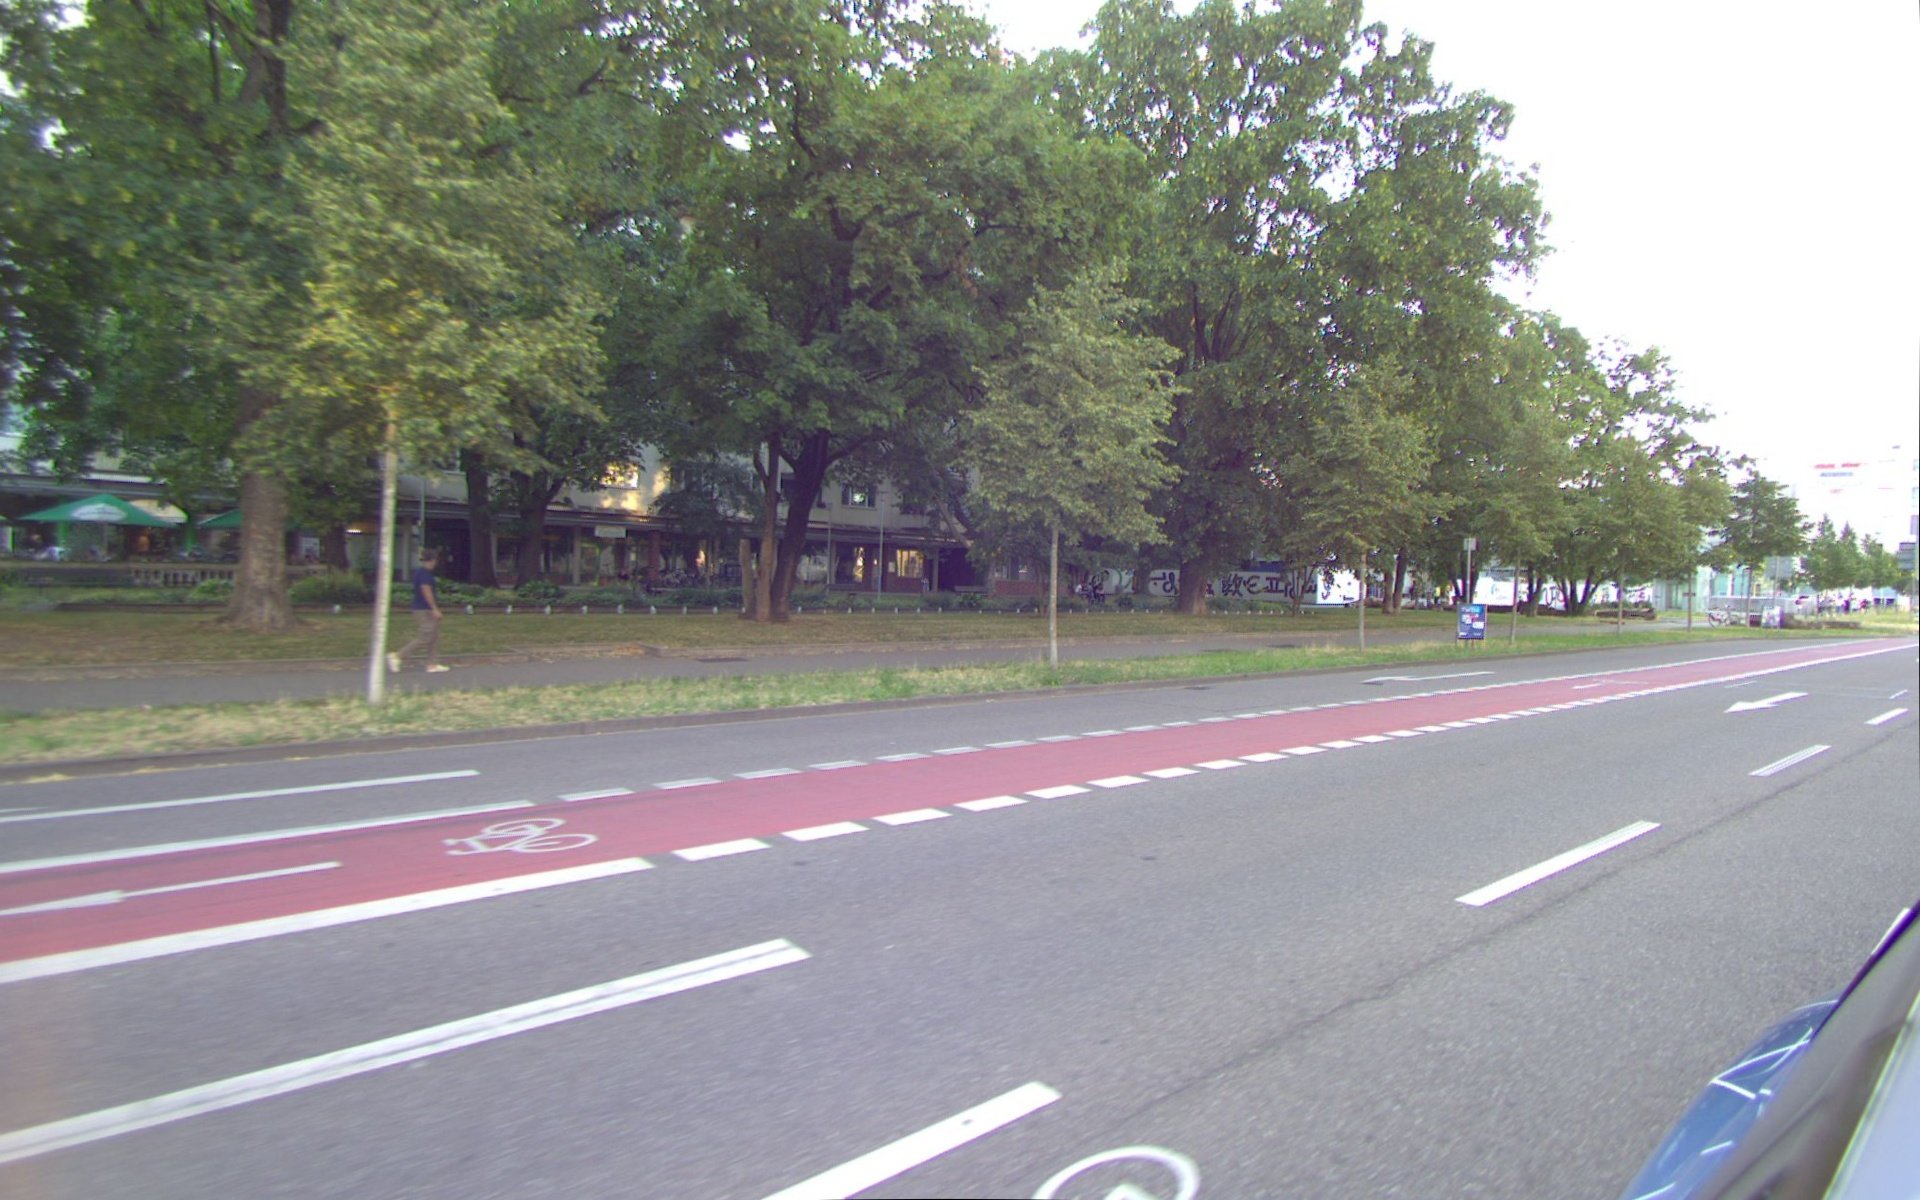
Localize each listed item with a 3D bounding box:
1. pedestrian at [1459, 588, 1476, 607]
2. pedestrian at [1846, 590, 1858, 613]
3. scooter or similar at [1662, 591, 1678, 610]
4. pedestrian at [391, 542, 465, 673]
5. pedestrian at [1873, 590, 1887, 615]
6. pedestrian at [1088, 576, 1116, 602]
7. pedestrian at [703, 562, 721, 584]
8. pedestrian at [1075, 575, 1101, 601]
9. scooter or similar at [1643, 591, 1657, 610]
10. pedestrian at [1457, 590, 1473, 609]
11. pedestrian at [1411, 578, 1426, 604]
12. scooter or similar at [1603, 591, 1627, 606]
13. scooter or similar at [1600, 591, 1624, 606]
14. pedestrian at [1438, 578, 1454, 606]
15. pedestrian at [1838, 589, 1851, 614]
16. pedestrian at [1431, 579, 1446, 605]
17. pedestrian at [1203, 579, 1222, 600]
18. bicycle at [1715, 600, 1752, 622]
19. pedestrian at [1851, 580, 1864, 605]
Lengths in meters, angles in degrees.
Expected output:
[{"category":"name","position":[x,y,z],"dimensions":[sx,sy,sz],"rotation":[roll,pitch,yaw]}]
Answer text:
[{"category":"pedestrian","position":[24.206,-0.114,48.273],"dimensions":[0.674,0.895,0.588],"rotation":[2,1,26]},{"category":"pedestrian","position":[75.494,0.143,85.655],"dimensions":[0.608,1.957,0.644],"rotation":[1,1,-38]},{"category":"scooter or similar","position":[48.233,0.047,68.747],"dimensions":[1.373,1.235,0.425],"rotation":[1,4,-40]},{"category":"pedestrian","position":[-7.258,0.083,13.795],"dimensions":[0.735,1.714,0.696],"rotation":[0,2,-41]},{"category":"pedestrian","position":[72.640,0.171,79.908],"dimensions":[0.608,1.957,0.644],"rotation":[1,1,-40]},{"category":"pedestrian","position":[7.343,-0.582,52.387],"dimensions":[0.889,1.276,1.135],"rotation":[1,2,-37]},{"category":"pedestrian","position":[-13.950,-1.506,56.856],"dimensions":[0.687,1.178,0.788],"rotation":[1,2,-39]},{"category":"pedestrian","position":[6.571,-0.599,51.856],"dimensions":[0.712,1.276,1.135],"rotation":[1,2,-37]},{"category":"scooter or similar","position":[47.429,0.010,69.599],"dimensions":[0.473,1.235,1.550],"rotation":[6,4,43]},{"category":"pedestrian","position":[24.396,-0.019,48.869],"dimensions":[0.674,0.895,0.618],"rotation":[2,1,27]},{"category":"pedestrian","position":[33.004,-0.655,72.851],"dimensions":[0.587,1.879,0.771],"rotation":[1,1,-25]},{"category":"scooter or similar","position":[53.282,-0.139,82.360],"dimensions":[0.466,1.236,1.571],"rotation":[0,0,-42]},{"category":"scooter or similar","position":[52.719,-0.125,81.783],"dimensions":[0.466,1.236,1.571],"rotation":[0,0,-42]},{"category":"pedestrian","position":[34.013,-0.547,70.879],"dimensions":[0.587,1.943,0.771],"rotation":[1,1,-25]},{"category":"pedestrian","position":[72.097,0.129,82.463],"dimensions":[0.608,1.957,0.644],"rotation":[1,1,-38]},{"category":"pedestrian","position":[34.303,-0.579,72.562],"dimensions":[0.587,1.843,0.771],"rotation":[1,1,-25]},{"category":"pedestrian","position":[14.748,-0.617,59.171],"dimensions":[0.786,1.178,0.754],"rotation":[3,1,44]},{"category":"bicycle","position":[38.481,0.548,50.357],"dimensions":[1.858,1.017,0.497],"rotation":[2,3,-20]},{"category":"pedestrian","position":[72.362,-0.600,81.619],"dimensions":[0.608,1.957,0.644],"rotation":[-1,2,-38]}]
